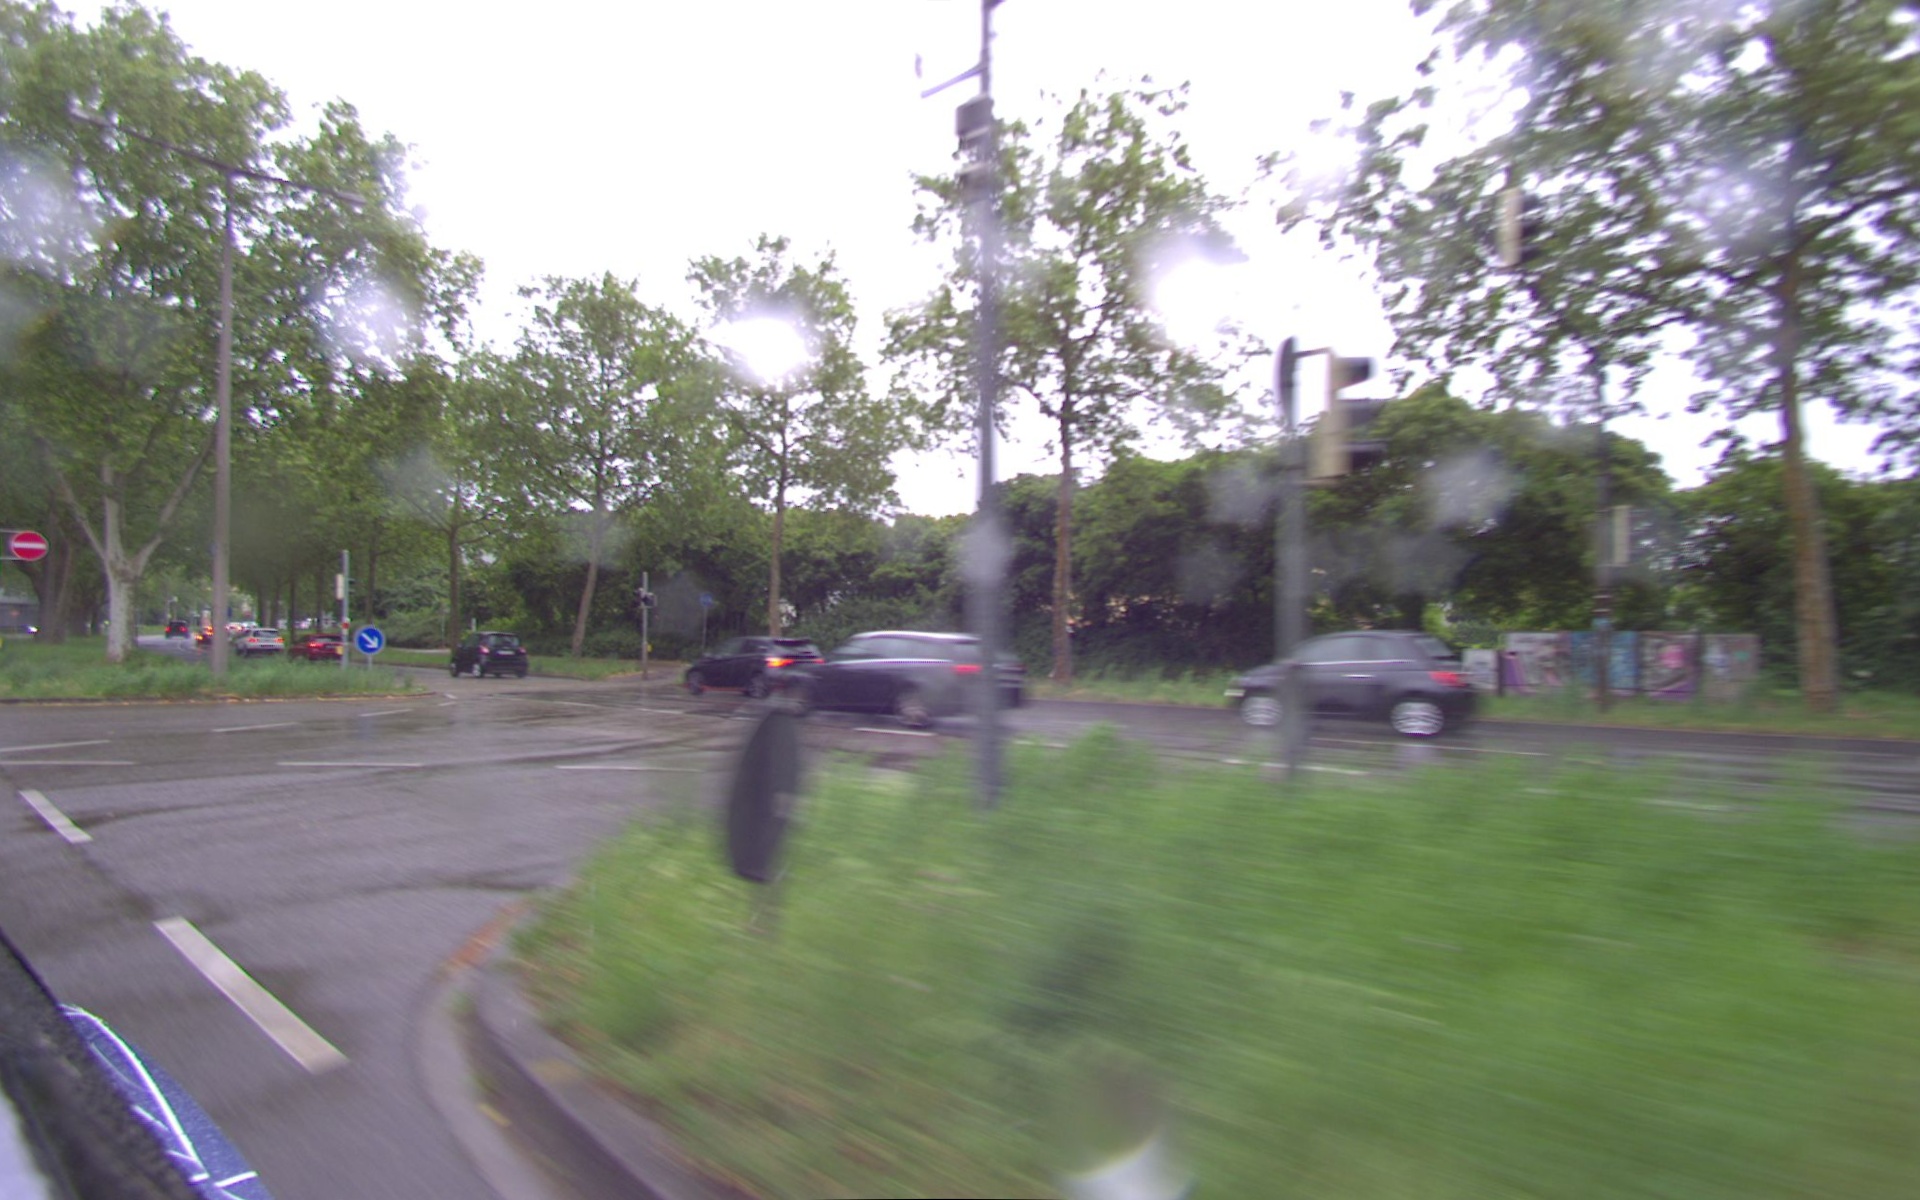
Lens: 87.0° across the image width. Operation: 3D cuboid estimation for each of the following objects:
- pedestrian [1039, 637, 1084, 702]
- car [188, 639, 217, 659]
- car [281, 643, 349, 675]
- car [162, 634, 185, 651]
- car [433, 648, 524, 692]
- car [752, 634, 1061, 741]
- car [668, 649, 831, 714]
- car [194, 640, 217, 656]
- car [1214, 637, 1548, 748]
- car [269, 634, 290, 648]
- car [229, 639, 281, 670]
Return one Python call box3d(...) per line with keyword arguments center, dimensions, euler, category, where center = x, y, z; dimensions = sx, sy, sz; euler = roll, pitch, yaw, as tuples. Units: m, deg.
box3d(center=(2.730, 1.855, 27.187), dimensions=(0.899, 1.686, 0.822), euler=(-2, -3, 42), category="pedestrian")
box3d(center=(-60.015, 3.901, 80.133), dimensions=(1.721, 1.450, 4.453), euler=(2, -4, -38), category="car")
box3d(center=(-30.342, 2.748, 47.538), dimensions=(4.446, 1.419, 1.723), euler=(-2, -3, 45), category="car")
box3d(center=(-86.578, 4.654, 111.444), dimensions=(1.720, 1.856, 5.133), euler=(2, -3, -35), category="car")
box3d(center=(-16.319, 2.337, 34.255), dimensions=(3.333, 1.383, 1.570), euler=(-2, -3, 42), category="car")
box3d(center=(-0.983, 1.301, 16.347), dimensions=(4.987, 1.463, 1.983), euler=(-1, -3, 40), category="car")
box3d(center=(-5.096, 1.886, 24.184), dimensions=(4.260, 1.383, 1.570), euler=(-2, -3, 41), category="car")
box3d(center=(-71.412, 4.525, 95.821), dimensions=(1.720, 1.487, 4.244), euler=(2, -3, -36), category="car")
box3d(center=(6.035, 1.252, 14.859), dimensions=(4.262, 1.383, 1.570), euler=(-2, -3, 43), category="car")
box3d(center=(-111.058, 6.710, 165.141), dimensions=(2.001, 2.243, 5.452), euler=(1, -3, -25), category="car")
box3d(center=(-40.065, 3.063, 57.462), dimensions=(1.723, 1.644, 4.448), euler=(3, -3, -44), category="car")
